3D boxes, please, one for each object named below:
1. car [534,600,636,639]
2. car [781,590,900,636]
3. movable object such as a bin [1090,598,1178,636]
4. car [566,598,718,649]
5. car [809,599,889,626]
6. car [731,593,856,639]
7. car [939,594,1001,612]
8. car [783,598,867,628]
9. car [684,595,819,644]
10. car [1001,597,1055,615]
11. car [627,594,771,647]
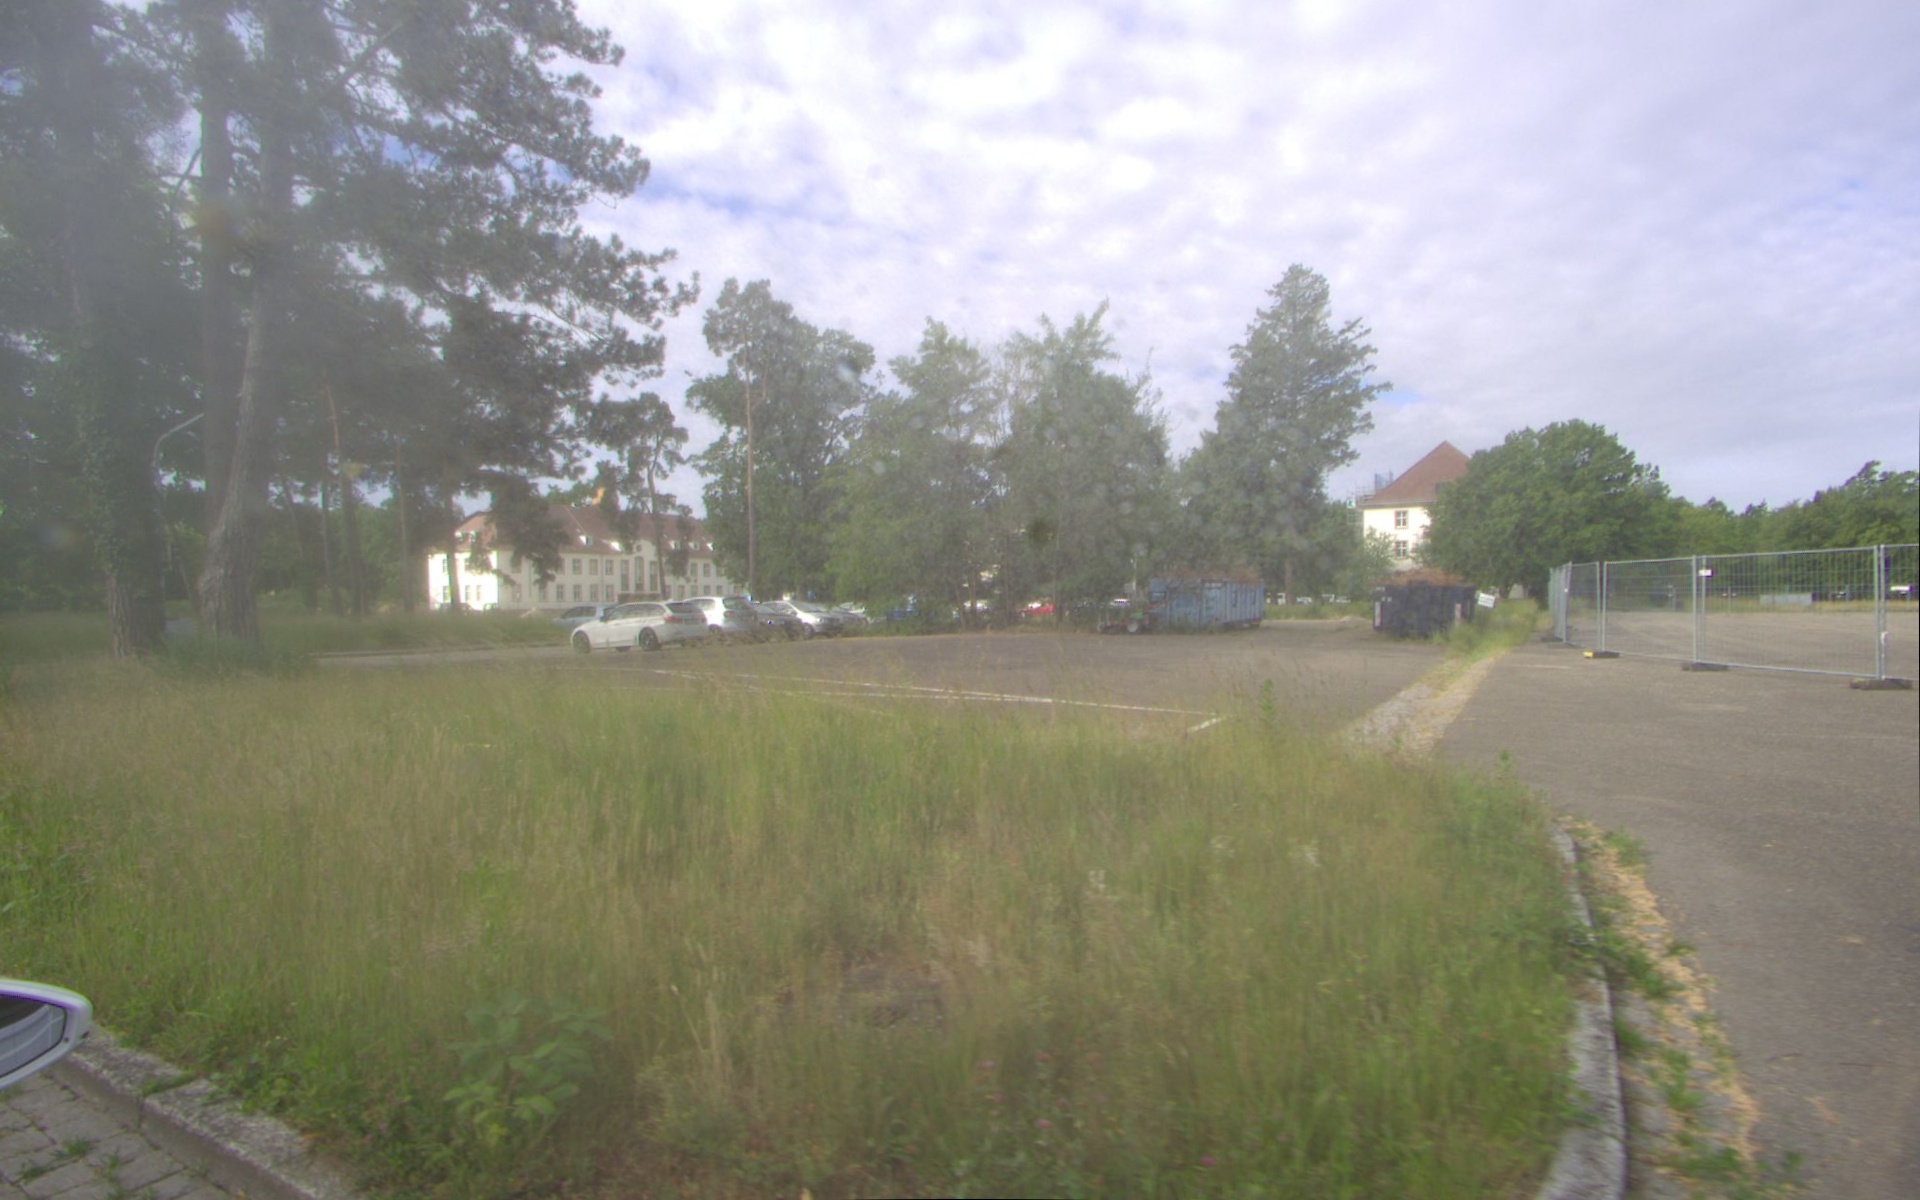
[{"bbox_3d":[-15.809,0.817,42.132,4.384,1.544,1.748,0,1,33],"label":"car"},{"bbox_3d":[-4.709,0.497,39.323,4.378,1.709,1.865,0,1,28],"label":"car"},{"bbox_3d":[5.418,0.499,31.201,2.504,1.098,1.060,1,1,30],"label":"movable object such as a bin"},{"bbox_3d":[-9.496,0.706,29.824,4.379,1.434,1.751,-1,0,28],"label":"car"},{"bbox_3d":[-6.401,0.711,57.650,4.378,1.544,1.751,0,1,28],"label":"car"},{"bbox_3d":[-6.181,0.577,37.109,4.378,1.598,1.865,0,1,28],"label":"car"},{"bbox_3d":[0.698,0.187,69.575,3.933,1.225,1.658,0,1,23],"label":"car"},{"bbox_3d":[-7.385,0.699,54.713,4.378,1.544,1.751,0,1,28],"label":"car"},{"bbox_3d":[-7.230,0.646,34.638,4.378,1.598,1.865,0,1,28],"label":"car"},{"bbox_3d":[5.361,0.512,78.925,3.935,1.373,1.656,-1,0,26],"label":"car"},{"bbox_3d":[-8.412,0.621,32.184,4.378,1.598,1.865,0,1,28],"label":"car"}]
